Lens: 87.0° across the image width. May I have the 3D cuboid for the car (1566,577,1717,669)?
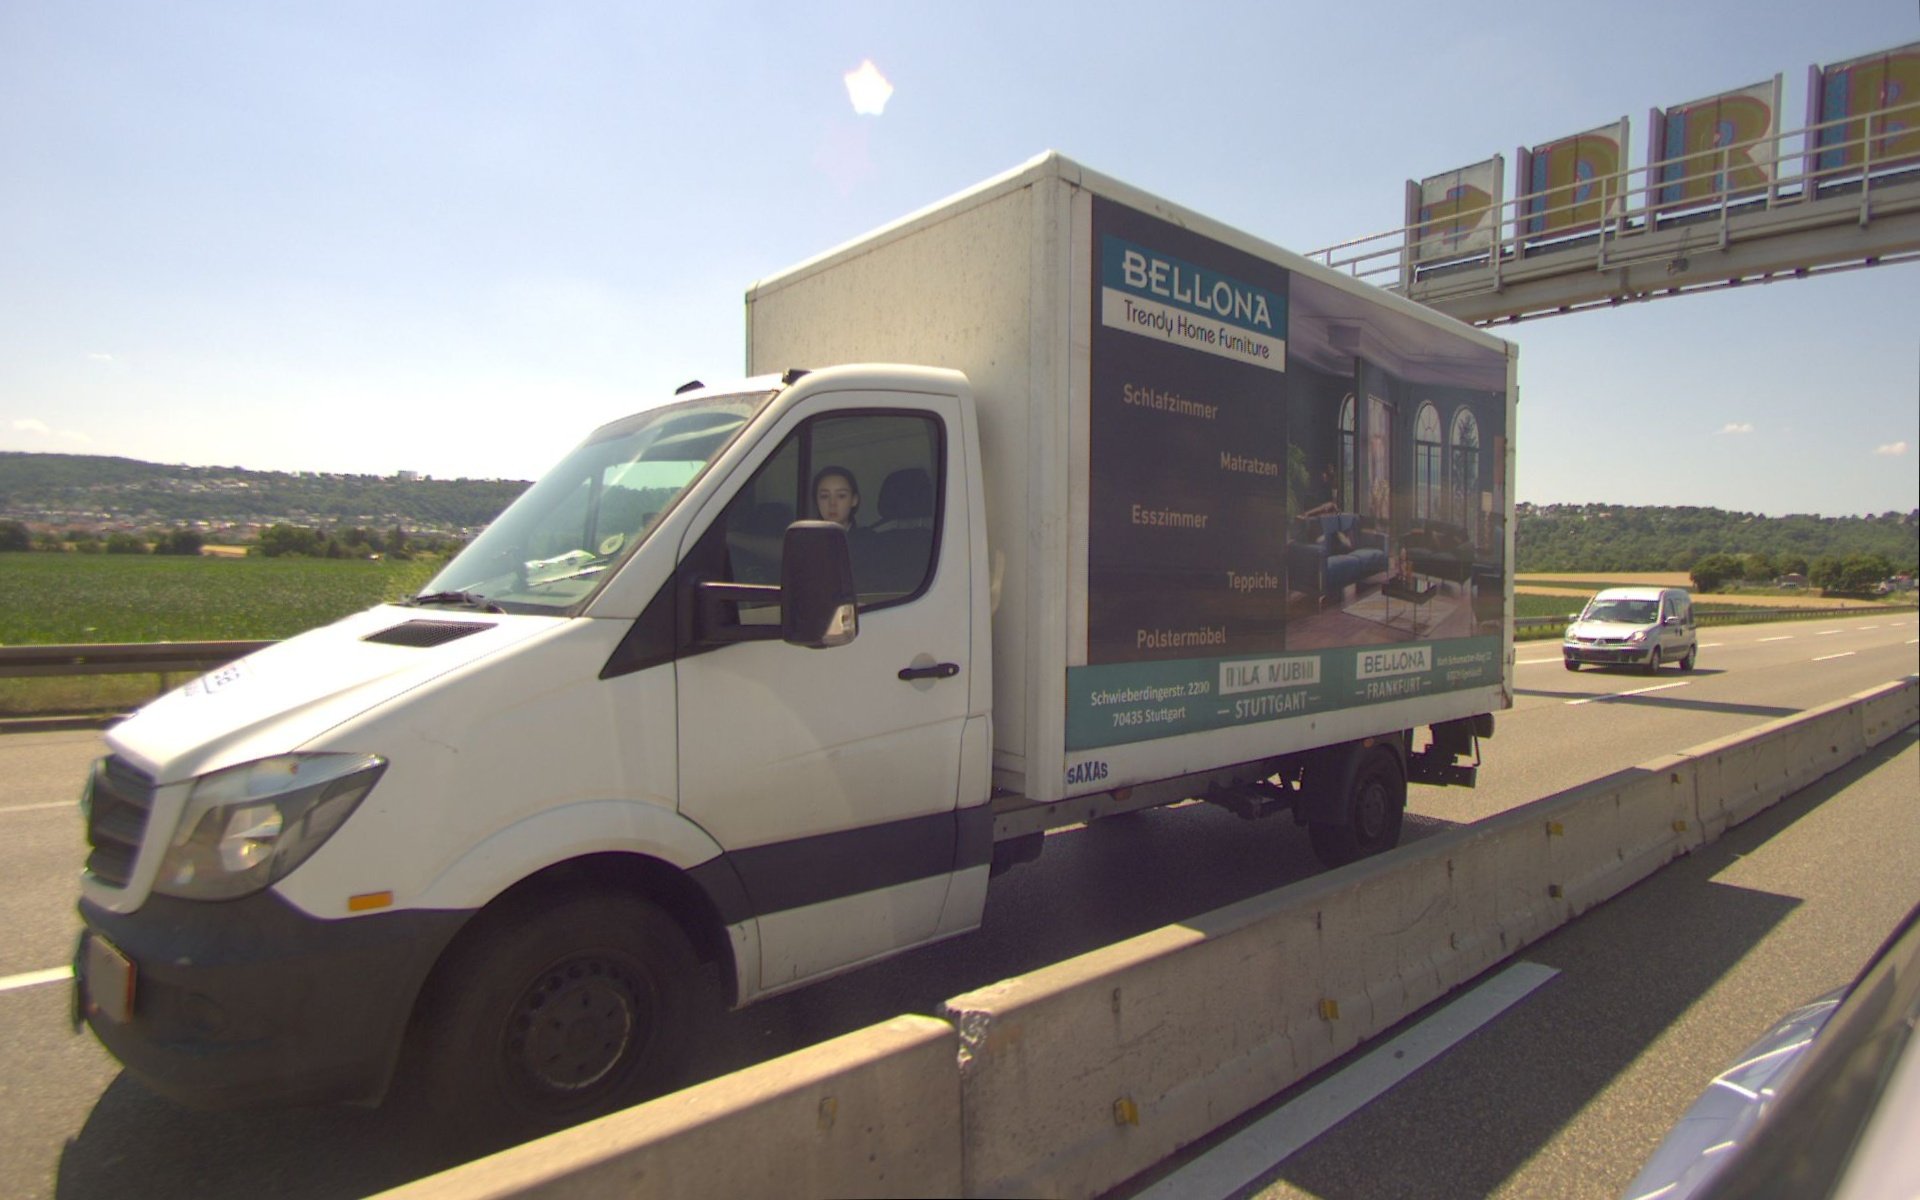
[{"bbox_3d":[14.374,0.447,21.287,3.902,1.759,1.630,0,0,-40],"label":"car"}]

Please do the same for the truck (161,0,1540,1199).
[{"bbox_3d":[0.347,-0.171,4.998,6.632,3.106,2.325,0,0,-41],"label":"truck"}]
